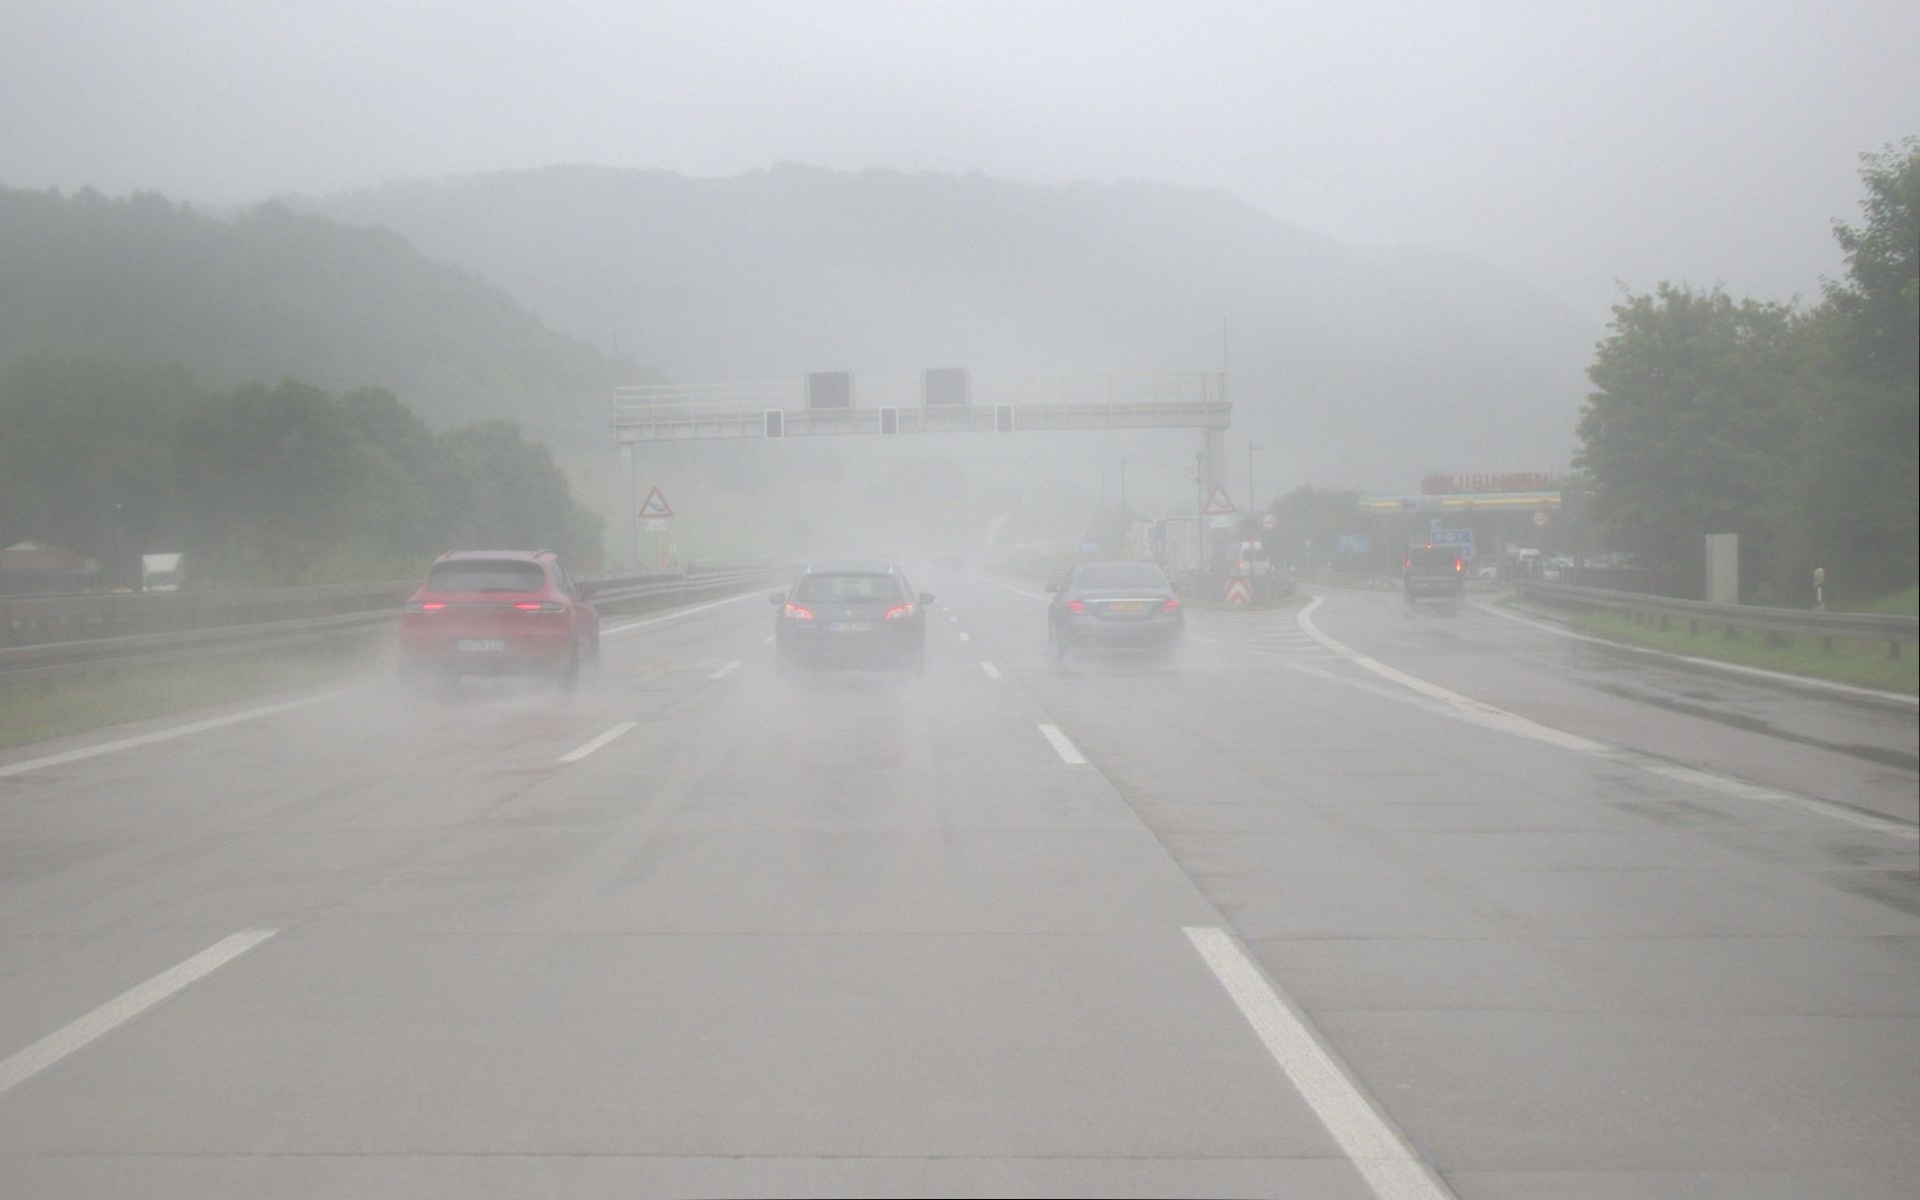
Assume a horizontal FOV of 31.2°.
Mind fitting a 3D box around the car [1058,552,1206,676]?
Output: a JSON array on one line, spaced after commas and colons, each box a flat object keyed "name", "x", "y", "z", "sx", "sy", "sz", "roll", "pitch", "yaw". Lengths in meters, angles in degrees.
[{"name": "car", "x": 2.528, "y": 0.168, "z": 51.419, "sx": 1.971, "sy": 1.754, "sz": 4.000, "roll": 0, "pitch": 1, "yaw": 0}]

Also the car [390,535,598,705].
[{"name": "car", "x": -5.206, "y": 0.179, "z": 38.856, "sx": 1.884, "sy": 1.809, "sz": 4.000, "roll": -1, "pitch": 1, "yaw": -1}]

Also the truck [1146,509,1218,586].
[{"name": "truck", "x": 13.034, "y": -3.105, "z": 202.533, "sx": 3.401, "sy": 4.387, "sz": 11.049, "roll": 1, "pitch": 1, "yaw": 0}]

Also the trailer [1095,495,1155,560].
[{"name": "trailer", "x": 11.125, "y": -4.864, "z": 232.794, "sx": 3.516, "sy": 4.247, "sz": 11.920, "roll": 0, "pitch": 1, "yaw": 0}]

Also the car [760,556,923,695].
[{"name": "car", "x": -1.389, "y": 0.275, "z": 41.763, "sx": 1.859, "sy": 1.584, "sz": 4.000, "roll": 0, "pitch": 1, "yaw": 0}]

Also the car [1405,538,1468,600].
[{"name": "car", "x": 15.736, "y": -1.037, "z": 113.669, "sx": 1.994, "sy": 2.007, "sz": 5.053, "roll": 0, "pitch": 1, "yaw": 7}]

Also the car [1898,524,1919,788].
[{"name": "car", "x": 7.345, "y": 0.397, "z": 20.349, "sx": 1.993, "sy": 1.744, "sz": 5.663, "roll": 0, "pitch": 1, "yaw": 0}]
